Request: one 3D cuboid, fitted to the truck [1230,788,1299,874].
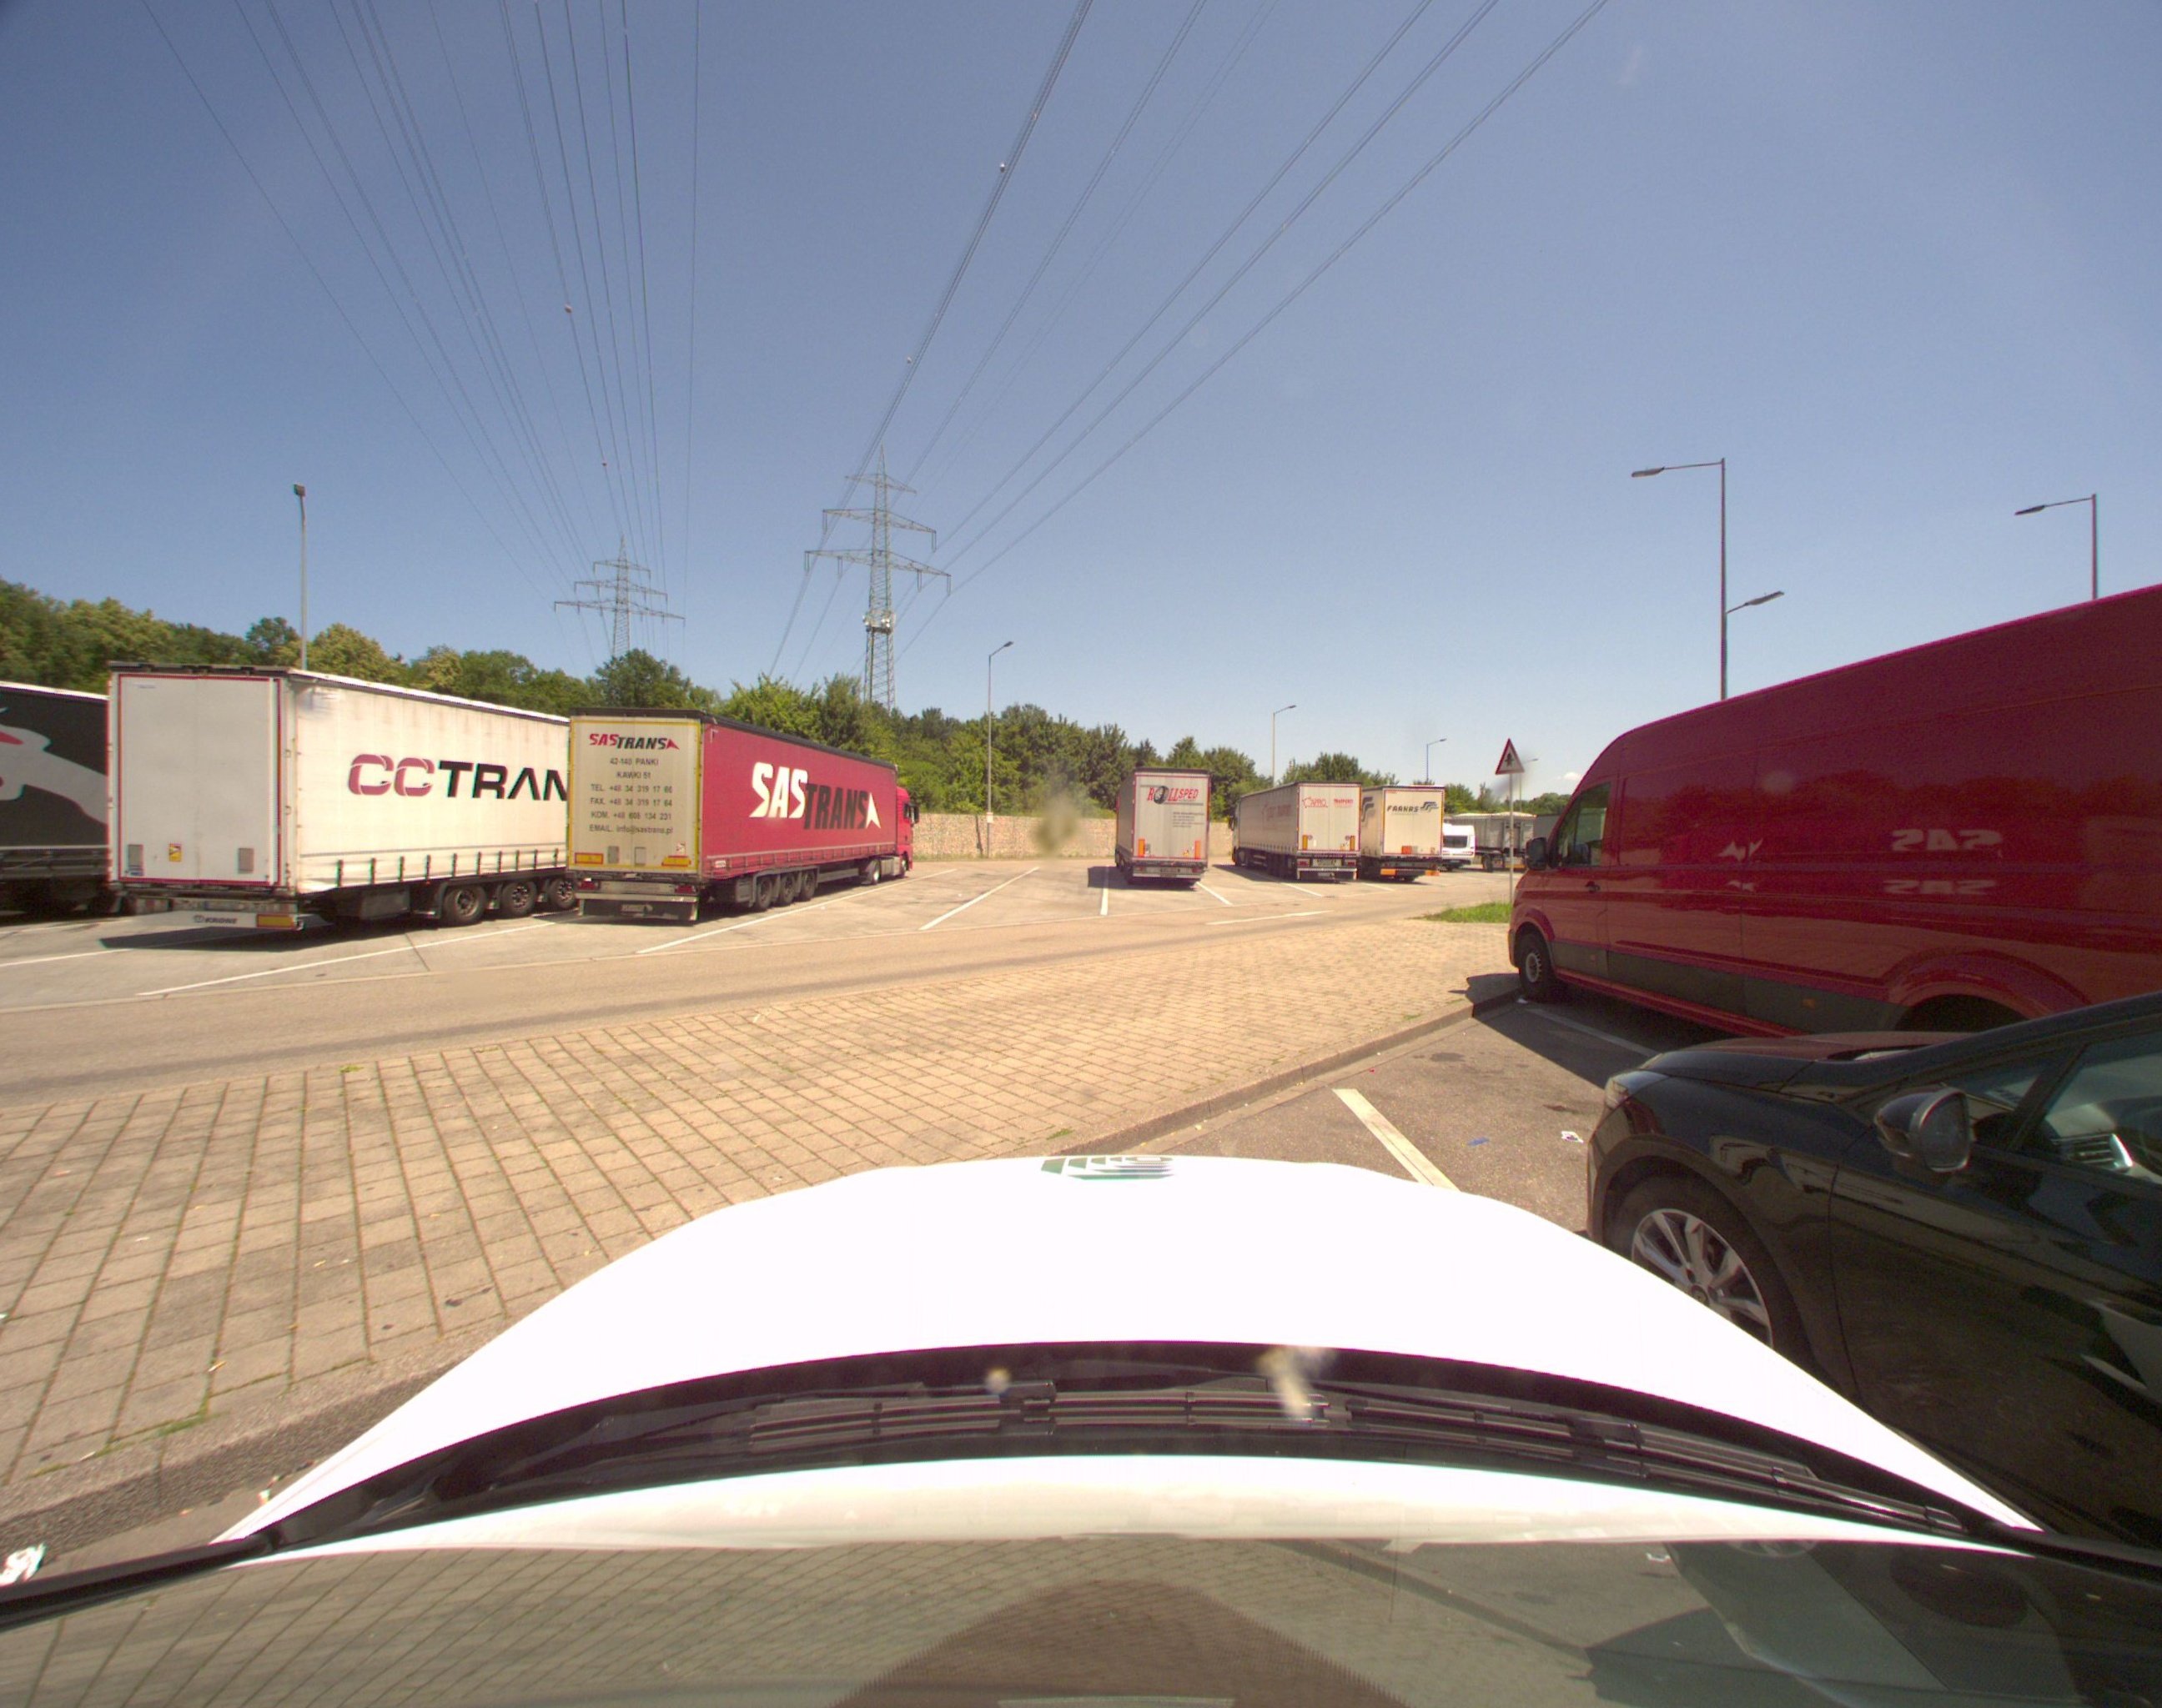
[{"bbox_3d":[10.079,-1.236,45.275,2.651,4.452,5.866,-1,1,2],"label":"truck"}]

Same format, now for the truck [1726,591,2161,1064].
[{"bbox_3d":[7.785,-0.154,5.941,2.508,2.827,4.821,0,-1,3],"label":"truck"}]

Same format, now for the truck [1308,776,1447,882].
[{"bbox_3d":[13.533,-0.941,38.615,2.577,4.226,11.974,0,-1,2],"label":"truck"}]

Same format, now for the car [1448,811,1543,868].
[{"bbox_3d":[24.135,-0.822,47.744,2.490,3.074,6.353,-1,1,2],"label":"car"}]

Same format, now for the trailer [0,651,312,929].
[{"bbox_3d":[-18.554,-1.042,15.032,2.668,4.444,6.151,-1,1,2],"label":"trailer"}]

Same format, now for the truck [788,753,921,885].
[{"bbox_3d":[-7.752,-1.153,28.706,2.795,4.133,5.896,-1,1,2],"label":"truck"}]

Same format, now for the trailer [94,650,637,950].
[{"bbox_3d":[-12.187,-0.814,15.439,2.744,4.152,8.291,0,1,2],"label":"trailer"}]

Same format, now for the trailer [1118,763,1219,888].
[{"bbox_3d":[3.114,-1.007,32.189,2.887,4.013,11.319,-1,1,1],"label":"trailer"}]

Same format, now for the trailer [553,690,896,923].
[{"bbox_3d":[-8.003,-0.951,21.450,2.789,4.219,13.208,-1,1,2],"label":"trailer"}]

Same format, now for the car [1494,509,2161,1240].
[{"bbox_3d":[5.141,0.029,5.530,1.984,2.633,6.393,-1,1,5],"label":"car"}]

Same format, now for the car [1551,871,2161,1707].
[{"bbox_3d":[2.549,0.778,0.921,1.772,1.457,3.681,0,-1,-3],"label":"car"}]

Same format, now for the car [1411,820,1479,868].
[{"bbox_3d":[20.537,-0.519,46.123,2.107,2.599,4.001,0,-1,2],"label":"car"}]

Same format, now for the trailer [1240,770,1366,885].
[{"bbox_3d":[9.901,-1.115,38.117,2.672,4.452,12.833,-1,1,1],"label":"trailer"}]

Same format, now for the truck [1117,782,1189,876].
[{"bbox_3d":[3.191,-1.093,37.771,2.861,3.980,6.030,-1,1,1],"label":"truck"}]
